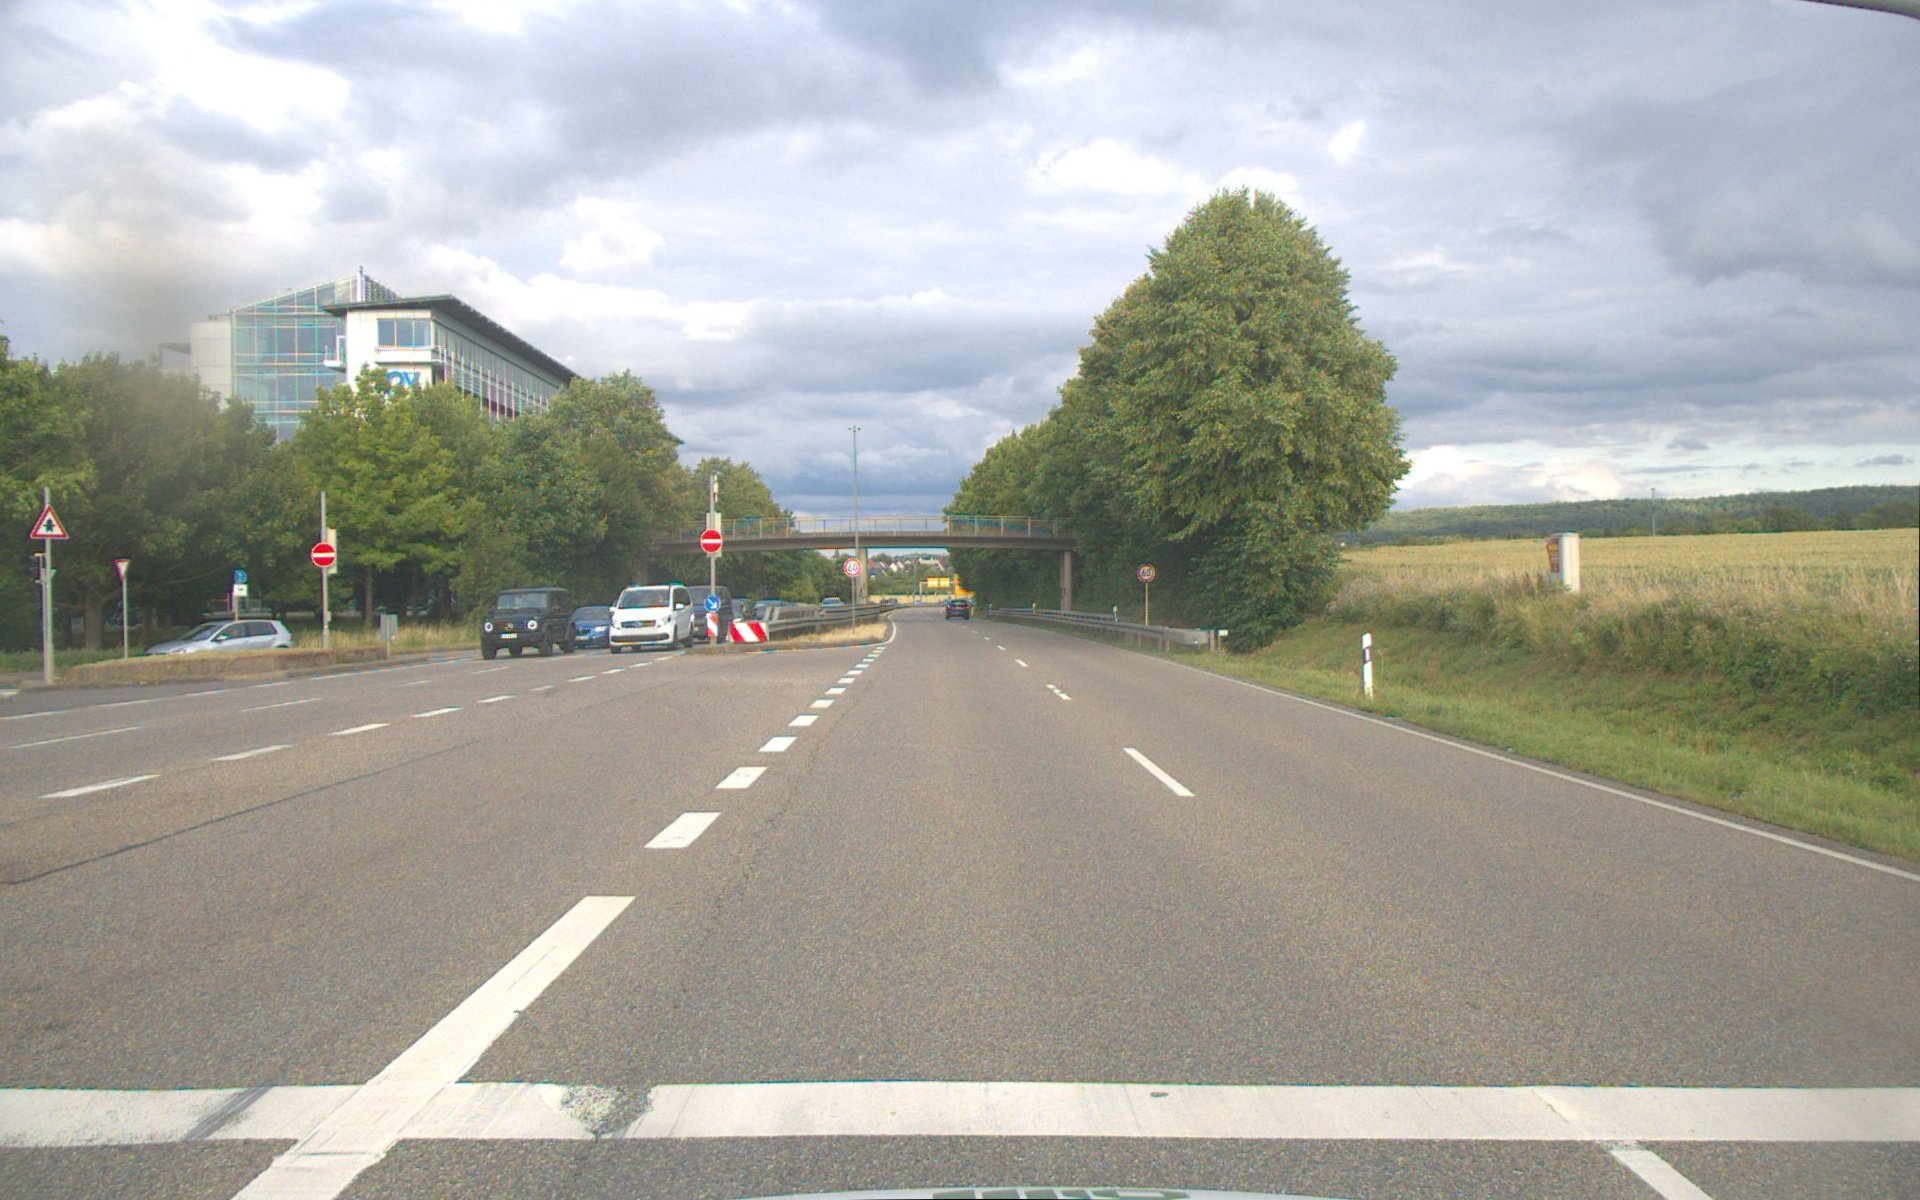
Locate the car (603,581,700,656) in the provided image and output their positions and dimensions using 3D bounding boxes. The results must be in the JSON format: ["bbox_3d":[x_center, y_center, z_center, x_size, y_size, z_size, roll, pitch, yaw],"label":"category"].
[{"bbox_3d":[-9.104,0.530,49.212,2.041,2.049,5.214,1,0,-2],"label":"car"}]

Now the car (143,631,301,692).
[{"bbox_3d":[-20.612,1.697,46.331,1.554,1.365,3.739,-4,1,34],"label":"car"}]

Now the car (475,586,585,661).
[{"bbox_3d":[-12.663,0.669,49.046,2.041,2.049,5.214,1,0,-2],"label":"car"}]

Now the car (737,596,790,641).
[{"bbox_3d":[-9.381,0.885,79.180,2.041,2.049,5.214,1,0,-2],"label":"car"}]

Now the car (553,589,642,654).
[{"bbox_3d":[-12.328,0.713,56.551,2.041,2.049,5.214,1,0,-2],"label":"car"}]

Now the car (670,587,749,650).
[{"bbox_3d":[-8.564,0.623,56.956,2.041,2.049,5.214,1,0,-2],"label":"car"}]

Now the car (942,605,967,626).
[{"bbox_3d":[-0.423,1.188,130.014,1.841,1.579,3.999,1,0,-1],"label":"car"}]
